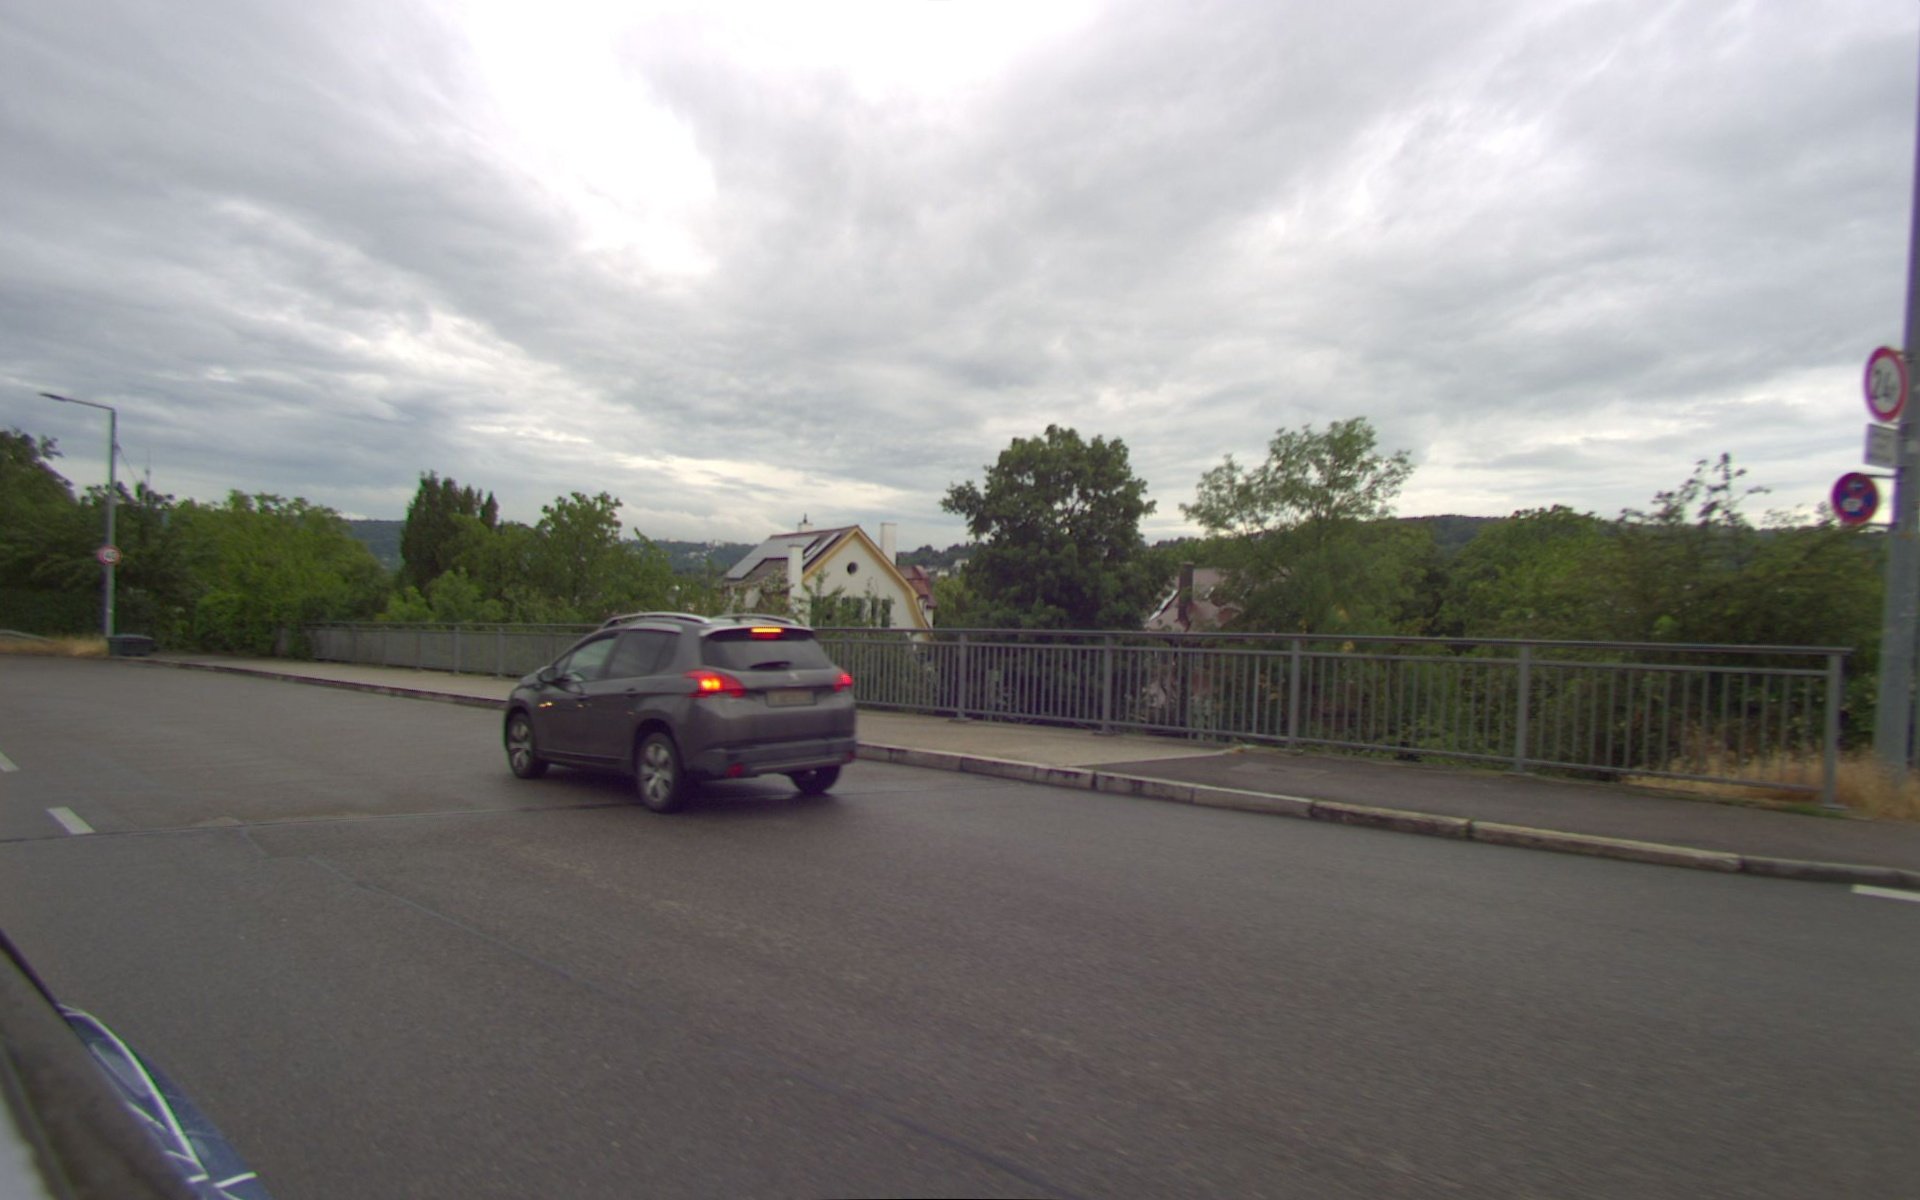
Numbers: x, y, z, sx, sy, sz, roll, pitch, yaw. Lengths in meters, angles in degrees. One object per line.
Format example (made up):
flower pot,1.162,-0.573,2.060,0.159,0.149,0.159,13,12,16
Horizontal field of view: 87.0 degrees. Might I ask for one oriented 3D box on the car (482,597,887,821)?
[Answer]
car,-2.628,0.817,9.102,4.002,1.557,1.714,-1,-3,45
